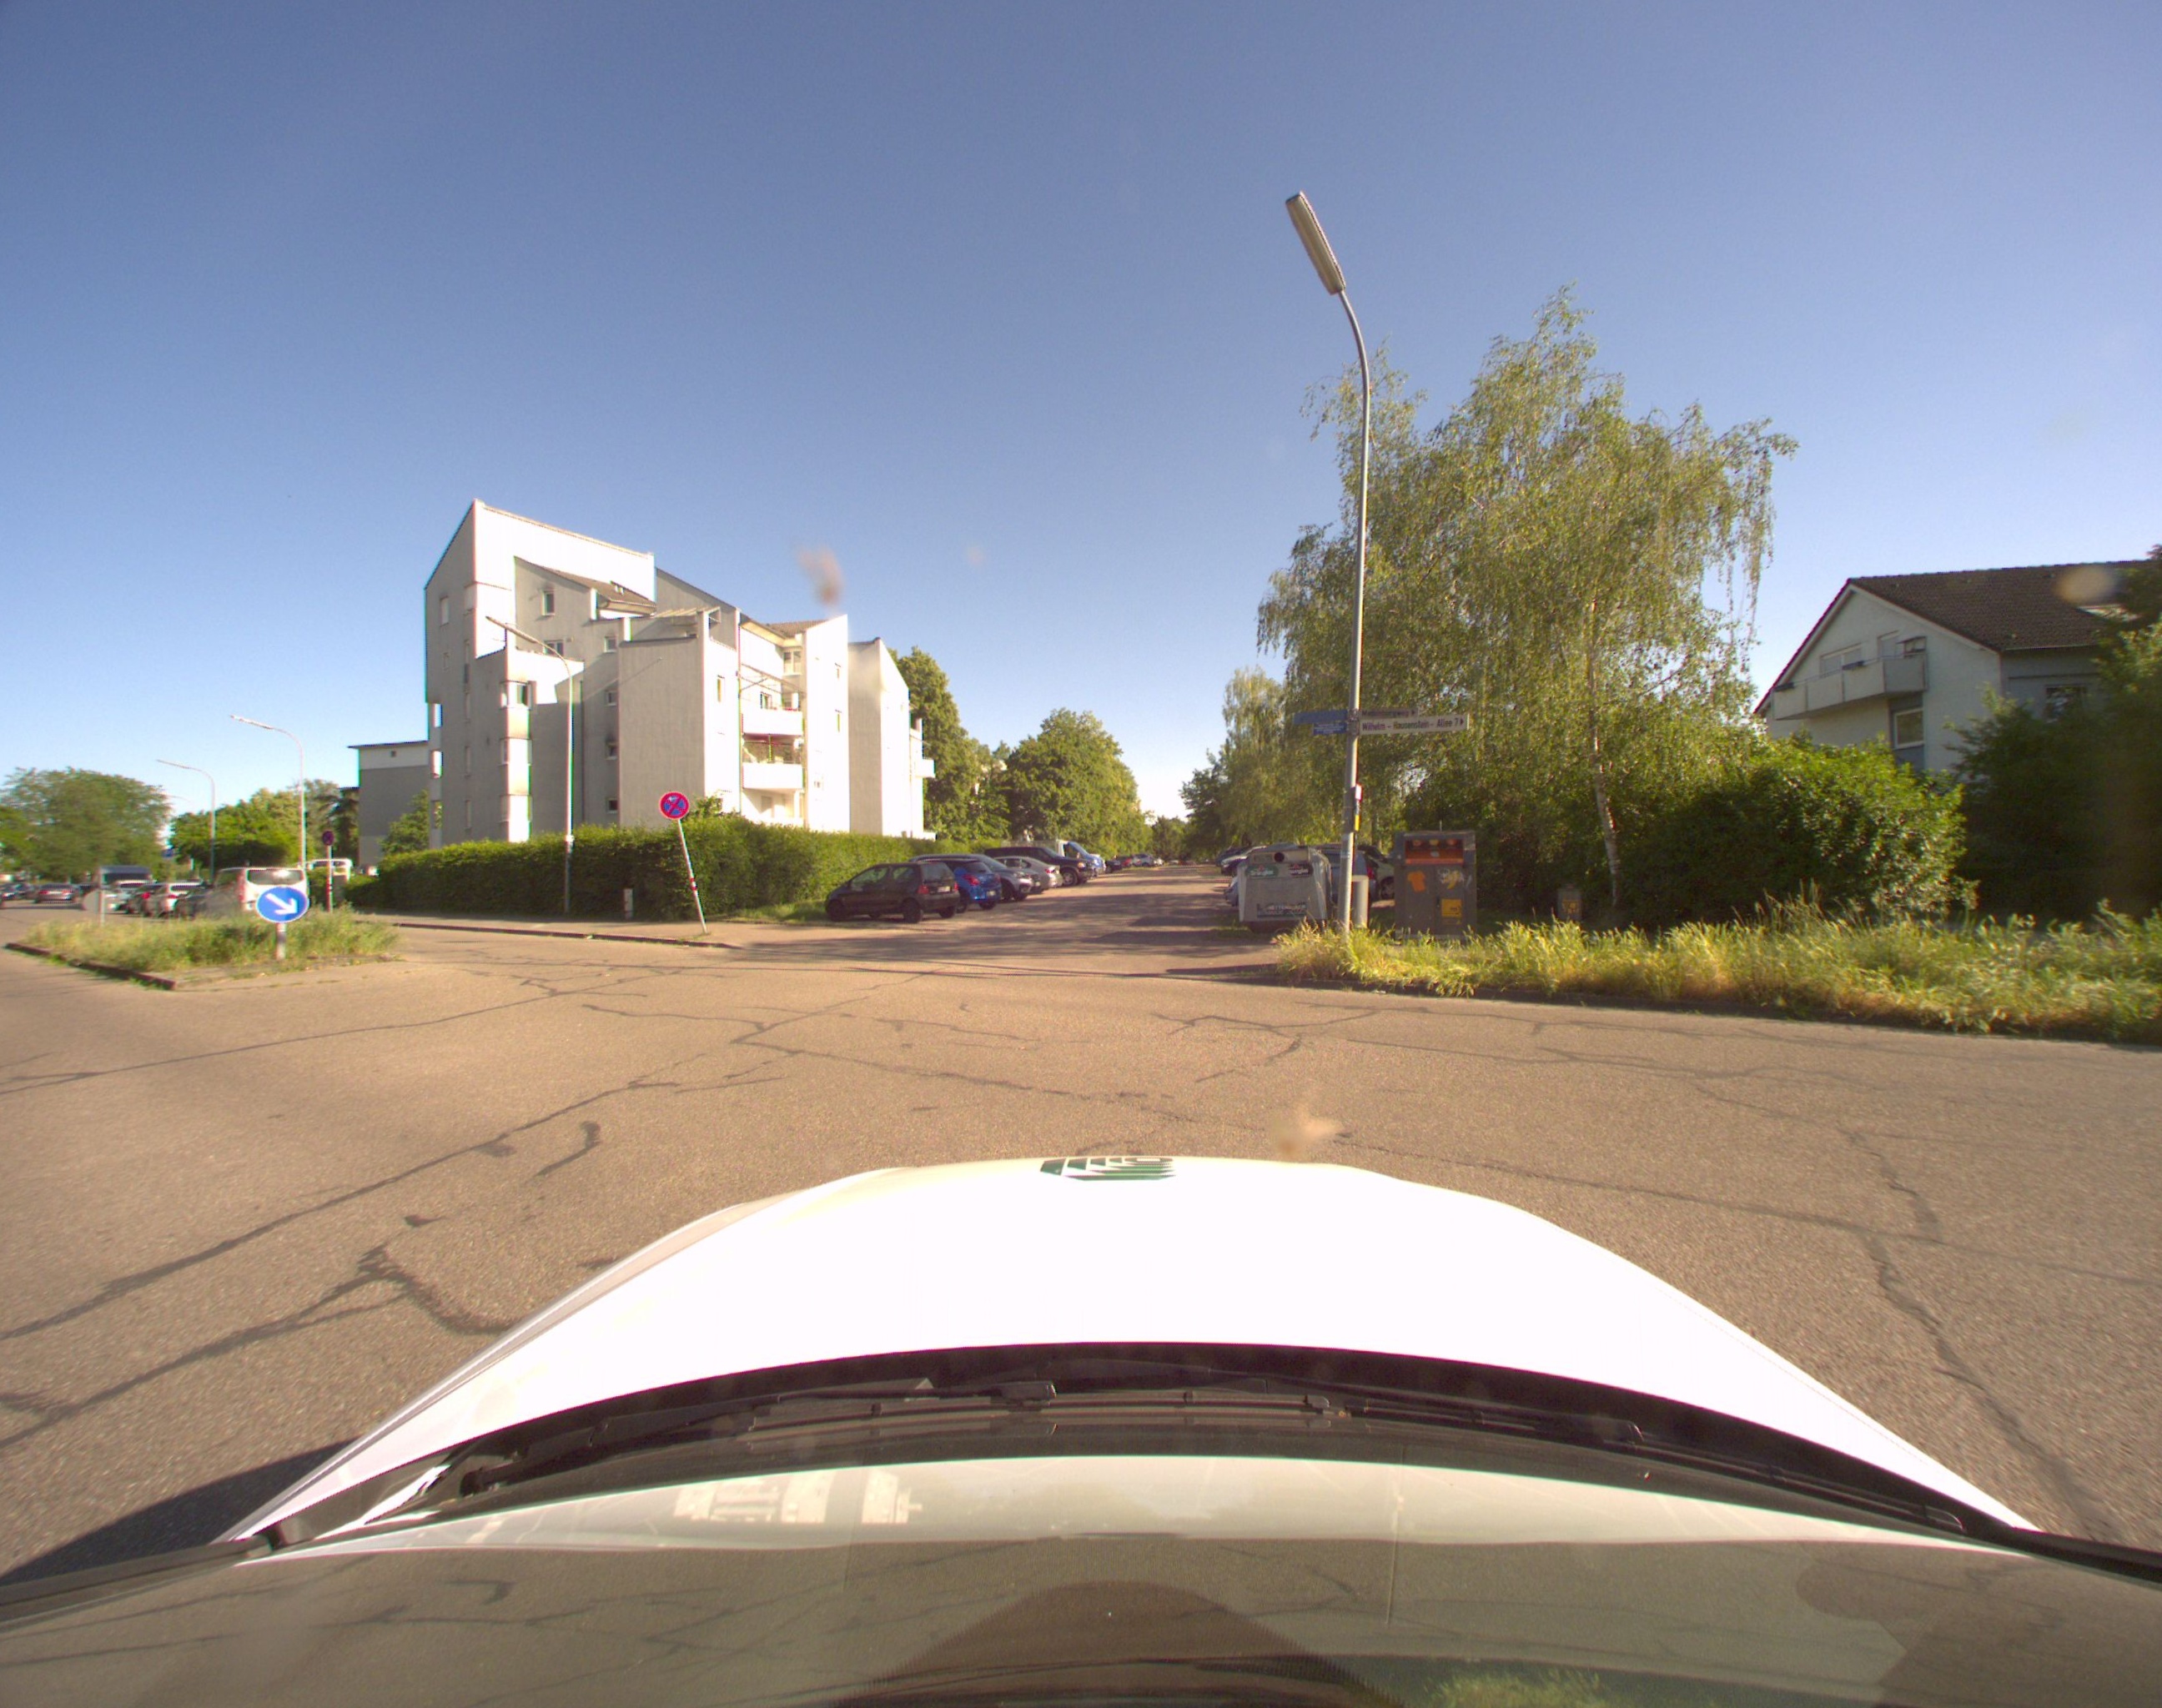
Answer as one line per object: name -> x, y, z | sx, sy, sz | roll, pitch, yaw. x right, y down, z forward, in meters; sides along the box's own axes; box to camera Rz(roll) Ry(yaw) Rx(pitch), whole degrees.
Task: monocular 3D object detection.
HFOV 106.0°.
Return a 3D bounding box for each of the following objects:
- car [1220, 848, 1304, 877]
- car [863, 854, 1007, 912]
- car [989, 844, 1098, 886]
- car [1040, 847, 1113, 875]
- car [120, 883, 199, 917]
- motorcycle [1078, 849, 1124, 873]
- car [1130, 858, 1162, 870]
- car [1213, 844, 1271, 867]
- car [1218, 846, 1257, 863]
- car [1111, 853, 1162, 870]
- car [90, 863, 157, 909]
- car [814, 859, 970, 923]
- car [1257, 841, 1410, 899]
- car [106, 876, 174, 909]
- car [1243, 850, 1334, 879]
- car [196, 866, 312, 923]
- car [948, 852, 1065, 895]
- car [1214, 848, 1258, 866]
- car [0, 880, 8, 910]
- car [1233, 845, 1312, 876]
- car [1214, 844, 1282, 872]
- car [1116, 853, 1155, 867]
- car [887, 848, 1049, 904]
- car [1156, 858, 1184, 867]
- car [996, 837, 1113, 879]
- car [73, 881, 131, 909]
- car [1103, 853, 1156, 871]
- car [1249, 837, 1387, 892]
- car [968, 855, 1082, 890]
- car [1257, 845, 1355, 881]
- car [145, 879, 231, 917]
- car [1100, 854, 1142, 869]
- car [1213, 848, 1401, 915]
car -> 8.897, 0.423, 40.140 | 3.960, 1.401, 1.804 | 0, -1, 12
car -> -4.127, 0.822, 23.060 | 3.648, 1.496, 1.660 | -2, 0, 22
car -> -1.672, 0.493, 36.842 | 4.490, 1.771, 1.854 | -1, 0, 14
car -> -0.265, 0.470, 54.089 | 4.494, 1.771, 1.852 | -1, 0, 10
car -> -43.671, 2.156, 38.571 | 4.318, 1.488, 1.928 | -2, -1, 34
motorcycle -> 1.430, 0.487, 58.064 | 3.171, 1.596, 0.926 | -1, 0, 10
car -> 8.324, 1.255, 103.844 | 3.917, 1.334, 1.851 | -1, 0, 8
car -> 11.357, 0.108, 57.402 | 3.960, 1.585, 1.804 | 0, -1, 12
car -> 16.434, 0.065, 85.590 | 3.960, 1.708, 1.804 | 0, -1, 12
car -> 4.552, 0.621, 66.480 | 3.917, 1.334, 1.851 | -1, 0, 8
car -> -55.622, 1.863, 47.280 | 5.779, 2.486, 2.125 | -2, -3, 37
car -> -4.781, 0.887, 20.599 | 3.489, 1.466, 1.714 | -1, 0, 26
car -> 7.405, 0.441, 24.160 | 4.034, 1.603, 1.793 | -1, 1, 4
car -> -50.923, 2.074, 44.048 | 4.318, 1.666, 1.928 | -2, -1, 34
car -> 9.603, 0.487, 37.728 | 3.958, 1.278, 1.804 | -1, -1, 14
car -> -30.369, 1.450, 29.862 | 4.889, 1.912, 2.013 | -2, -1, 33
car -> -2.795, 0.734, 30.933 | 4.121, 1.455, 1.622 | -2, -1, 7
car -> 14.506, 0.296, 76.004 | 3.960, 1.585, 1.804 | 0, -1, 12
car -> -62.955, 2.363, 46.499 | 4.131, 1.705, 1.931 | -2, 0, 36
car -> 10.083, 0.333, 42.930 | 3.960, 1.585, 1.804 | 0, -1, 12
car -> 10.056, 0.242, 48.999 | 3.960, 1.585, 1.804 | 0, -1, 12
car -> 5.660, 0.649, 84.182 | 3.917, 1.334, 1.851 | -1, 0, 8
car -> -3.716, 0.717, 27.020 | 4.955, 1.654, 1.791 | -2, 0, 14
car -> 12.328, 1.145, 112.692 | 3.623, 1.212, 1.851 | -1, 0, 8
car -> -1.423, 0.240, 45.837 | 6.222, 2.147, 2.416 | -1, 0, 7
car -> -61.217, 2.539, 50.920 | 4.318, 1.666, 1.928 | -2, -1, 34
car -> 3.778, 0.611, 63.423 | 3.917, 1.334, 1.851 | -1, 0, 8
car -> 7.763, 0.312, 26.922 | 4.087, 1.706, 1.792 | -1, 1, 3
car -> -2.330, 0.770, 34.510 | 4.422, 1.335, 1.853 | -1, 0, 11
car -> 9.721, 0.404, 35.350 | 3.958, 1.503, 1.956 | -1, -1, 14
car -> -38.923, 1.894, 35.459 | 4.318, 1.488, 1.928 | -2, -1, 34
car -> 4.002, 0.737, 81.106 | 3.917, 1.334, 1.851 | -1, 0, 8
car -> 5.233, 0.588, 18.845 | 4.017, 1.439, 1.643 | 0, 0, 22
